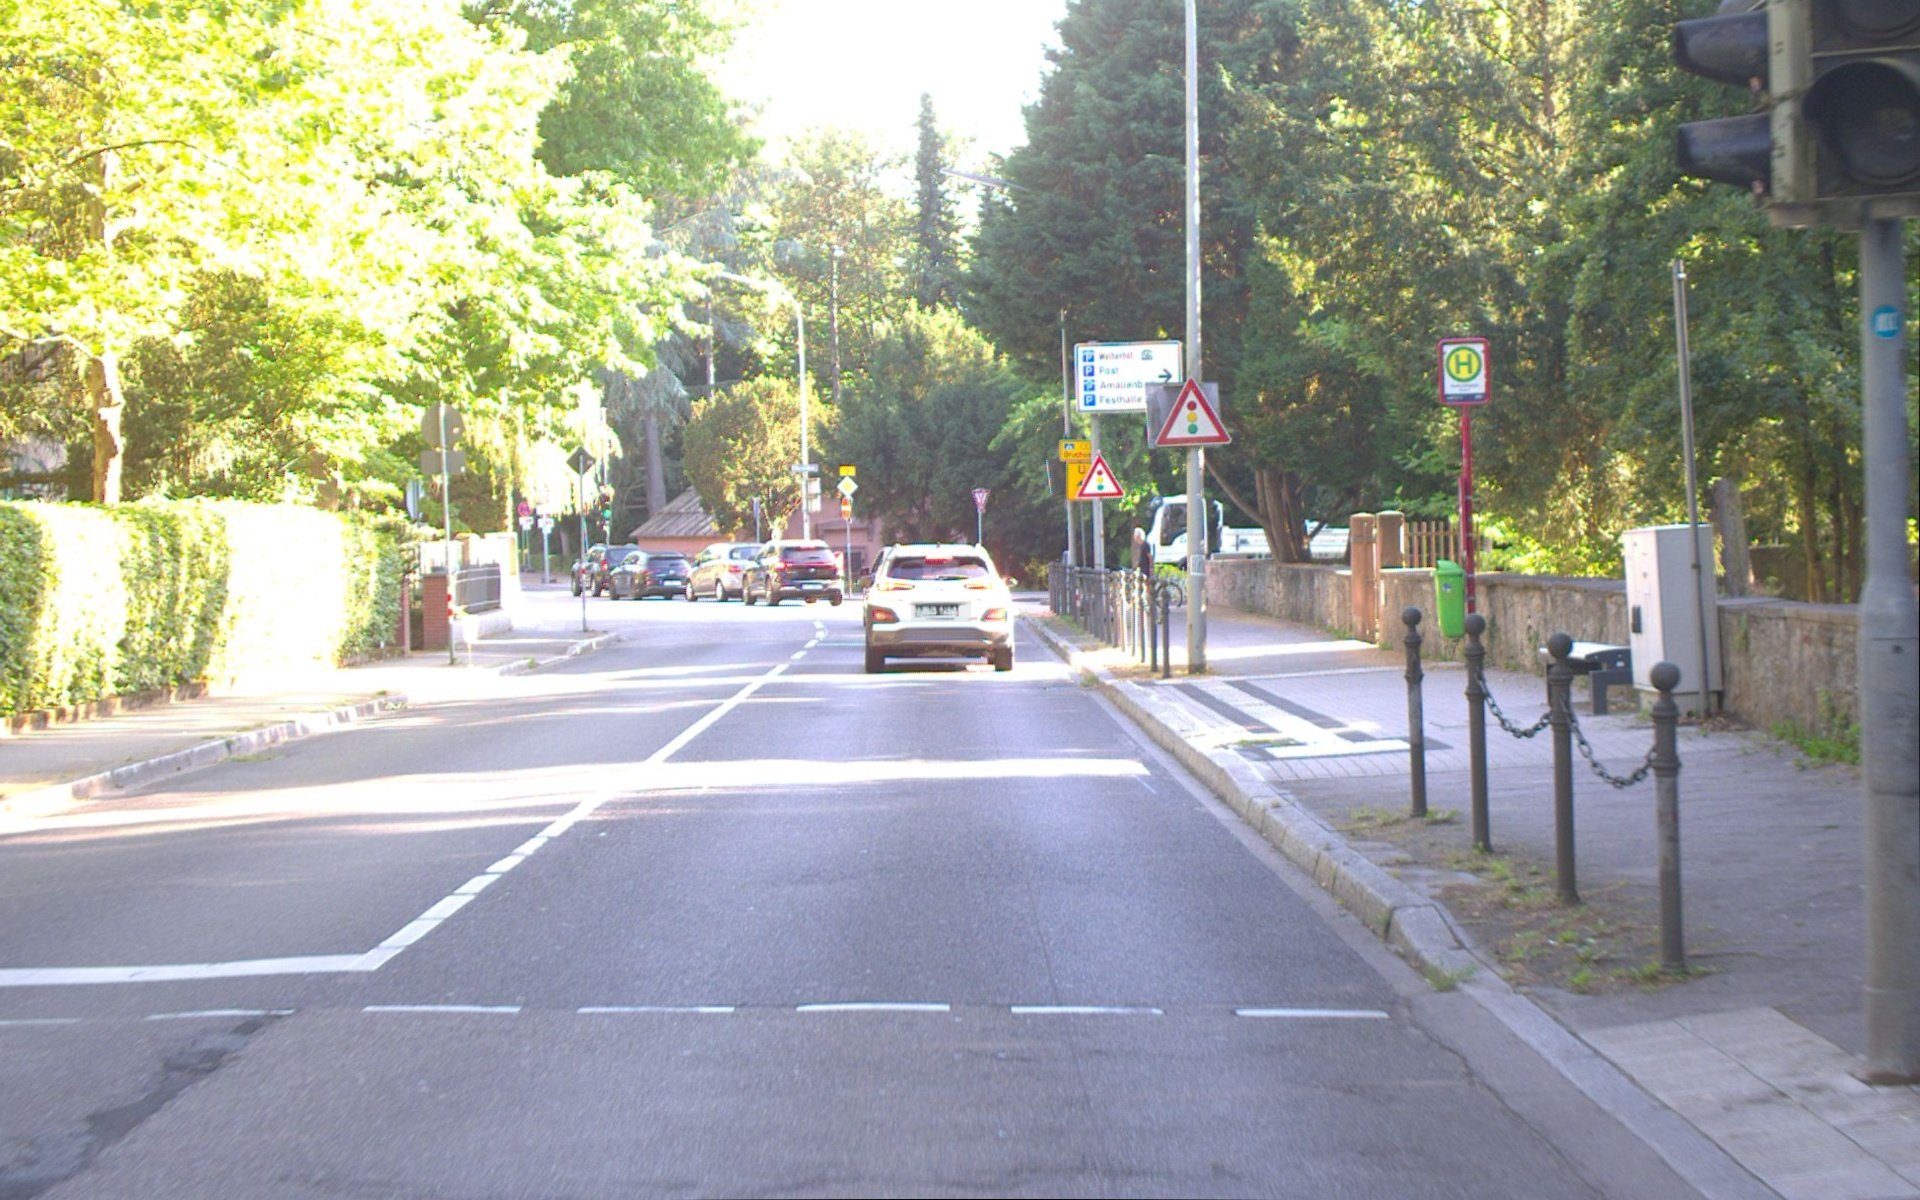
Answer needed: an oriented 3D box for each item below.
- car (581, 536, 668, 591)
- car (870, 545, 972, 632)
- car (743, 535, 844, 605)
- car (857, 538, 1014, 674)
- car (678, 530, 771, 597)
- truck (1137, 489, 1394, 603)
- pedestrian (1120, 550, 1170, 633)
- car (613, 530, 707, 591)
[{"bbox_3d":[-10.492,-1.143,107.337,1.831,1.656,4.001,0,1,-19],"label":"car"},{"bbox_3d":[-0.753,-0.241,63.438,1.805,1.532,4.000,1,1,-1],"label":"car"},{"bbox_3d":[-4.133,-0.754,84.814,1.831,1.656,4.001,0,1,-12],"label":"car"},{"bbox_3d":[-0.330,0.043,43.168,1.820,1.568,4.000,2,1,-1],"label":"car"},{"bbox_3d":[-6.374,-1.001,92.573,1.831,1.735,4.001,0,1,-14],"label":"car"},{"bbox_3d":[7.993,-1.432,90.130,6.588,2.885,2.433,1,1,5],"label":"truck"},{"bbox_3d":[4.108,-0.191,76.391,0.940,1.820,0.554,0,3,-39],"label":"pedestrian"},{"bbox_3d":[-8.642,-1.146,98.881,1.831,1.656,4.001,0,1,-18],"label":"car"}]
